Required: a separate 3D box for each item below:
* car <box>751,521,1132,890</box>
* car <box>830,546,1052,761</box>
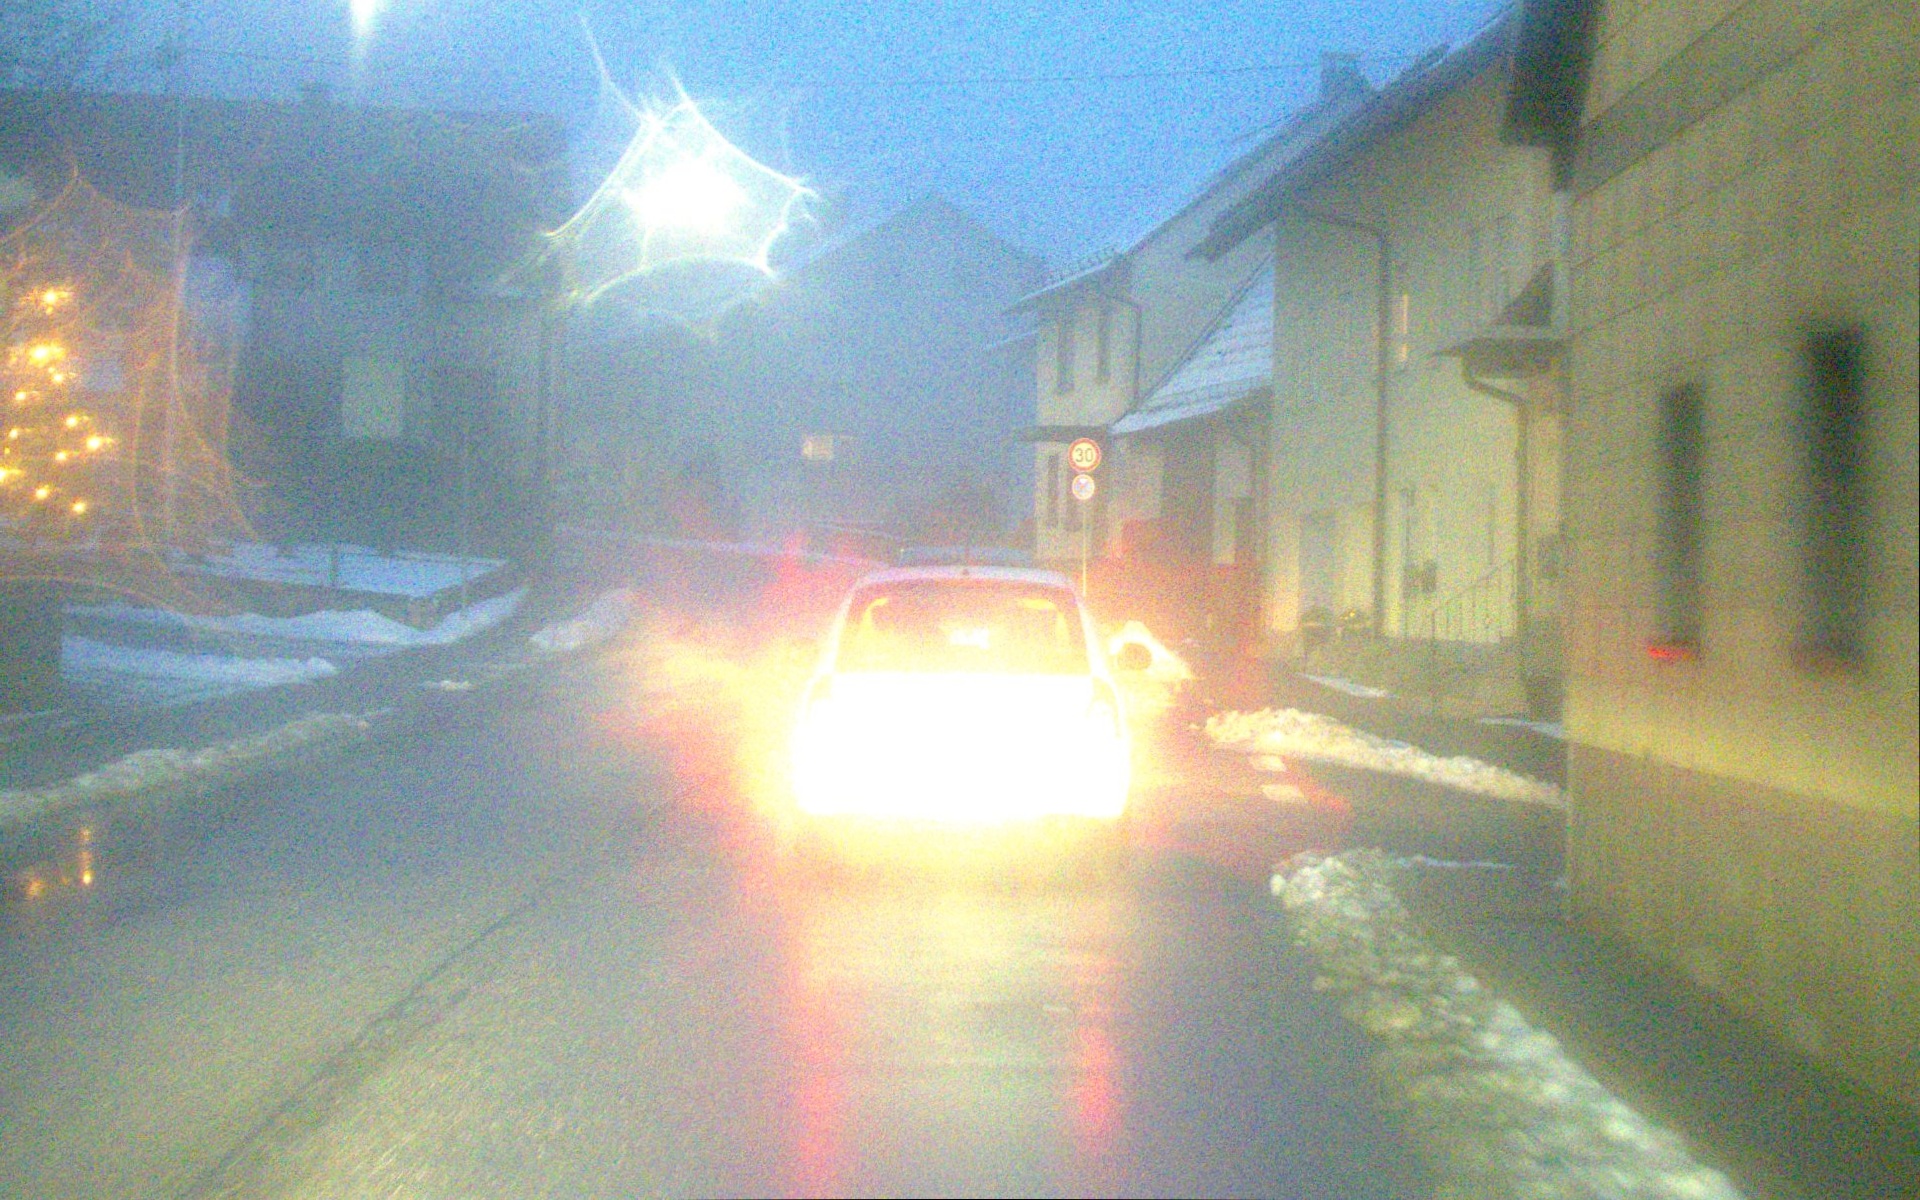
[{"bbox_3d":[-0.091,0.475,17.388,1.645,1.590,3.699,3,0,0],"label":"car"},{"bbox_3d":[-0.180,0.417,28.538,1.645,1.590,3.699,3,0,-1],"label":"car"}]
